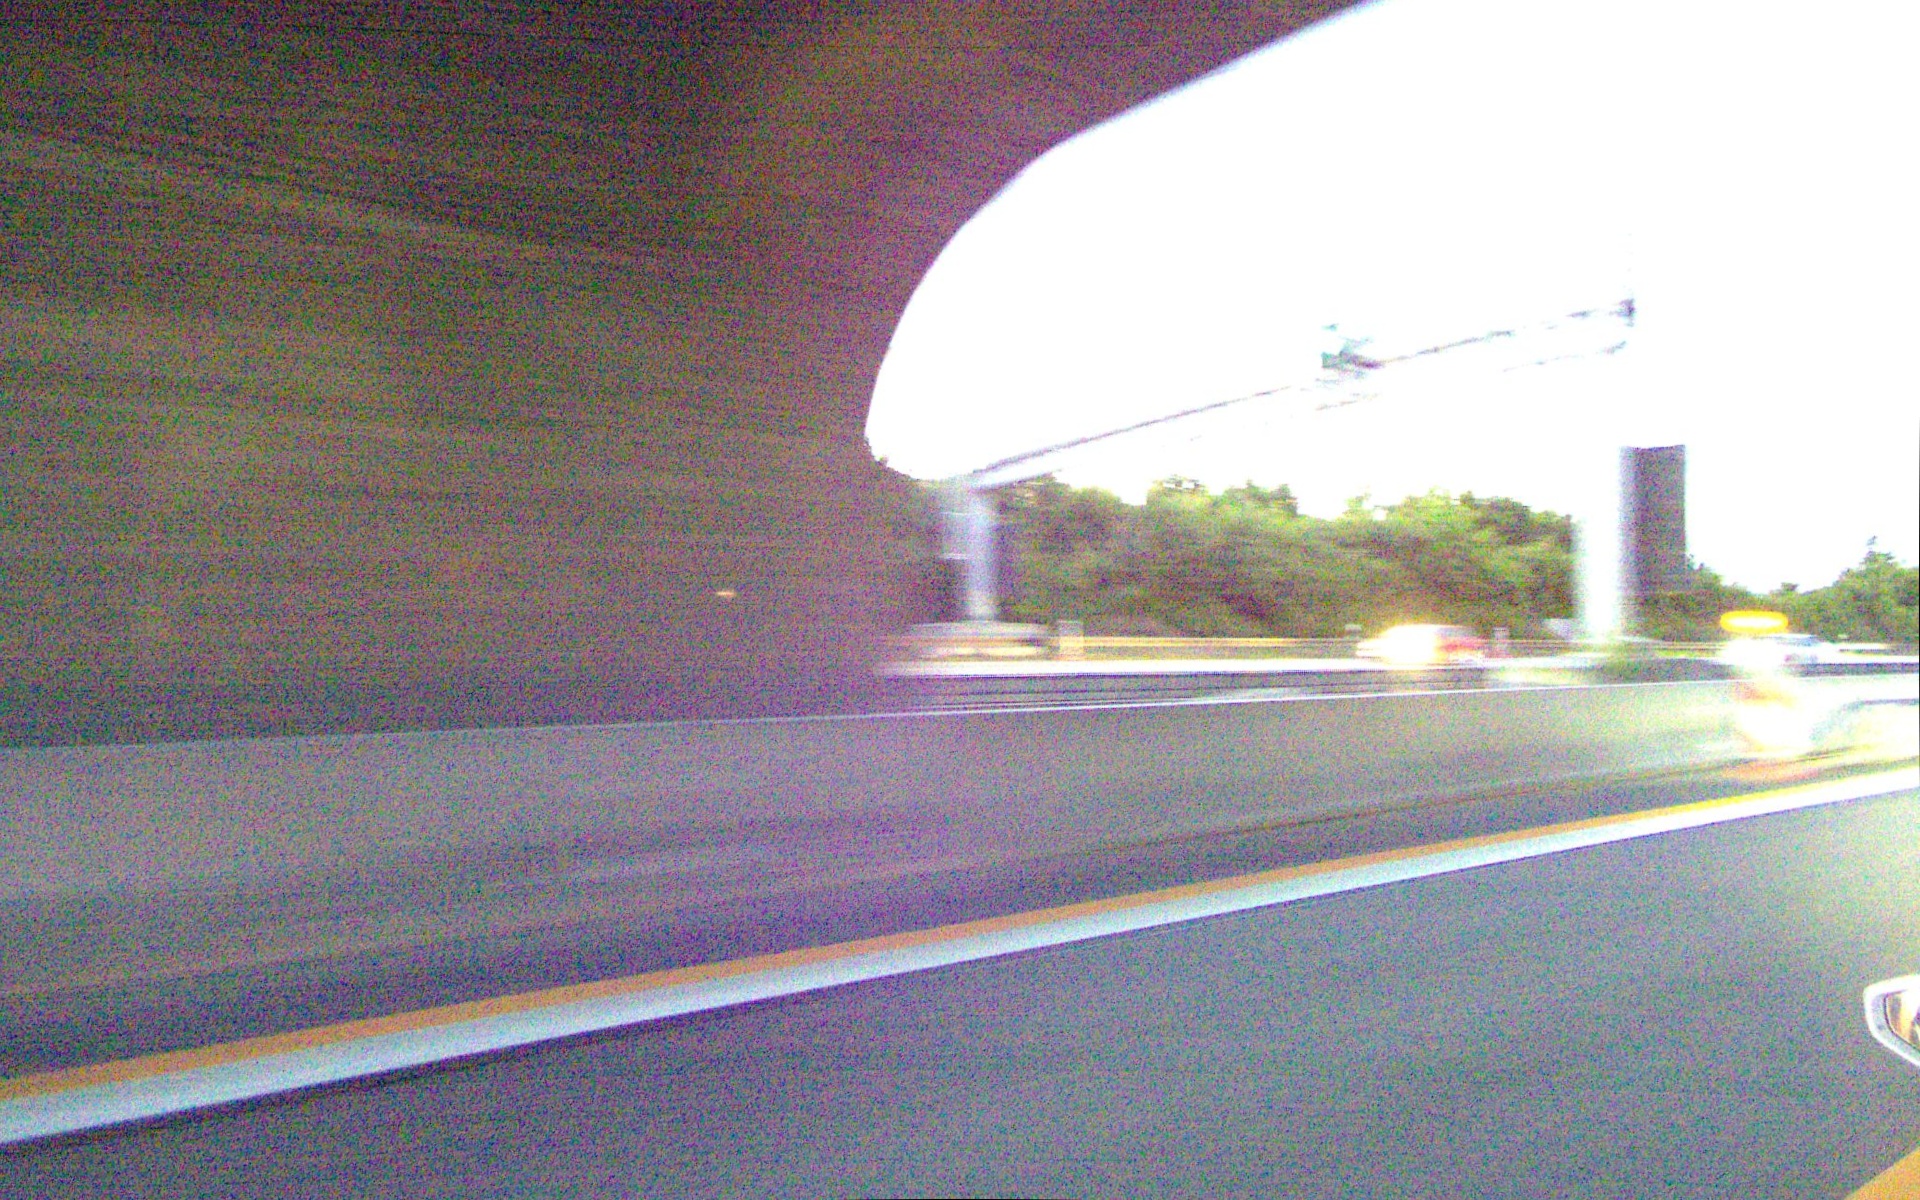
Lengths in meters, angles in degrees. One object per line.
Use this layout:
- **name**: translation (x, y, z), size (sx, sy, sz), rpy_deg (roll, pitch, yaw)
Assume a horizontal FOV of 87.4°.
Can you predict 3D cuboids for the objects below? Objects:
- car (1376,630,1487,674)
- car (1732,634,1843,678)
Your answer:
- **car**: translation (17.159, 1.892, 36.554), size (3.882, 1.475, 1.695), rpy_deg (2, 0, -29)
- **car**: translation (34.528, 2.324, 41.878), size (4.780, 1.683, 1.823), rpy_deg (2, 0, -28)
